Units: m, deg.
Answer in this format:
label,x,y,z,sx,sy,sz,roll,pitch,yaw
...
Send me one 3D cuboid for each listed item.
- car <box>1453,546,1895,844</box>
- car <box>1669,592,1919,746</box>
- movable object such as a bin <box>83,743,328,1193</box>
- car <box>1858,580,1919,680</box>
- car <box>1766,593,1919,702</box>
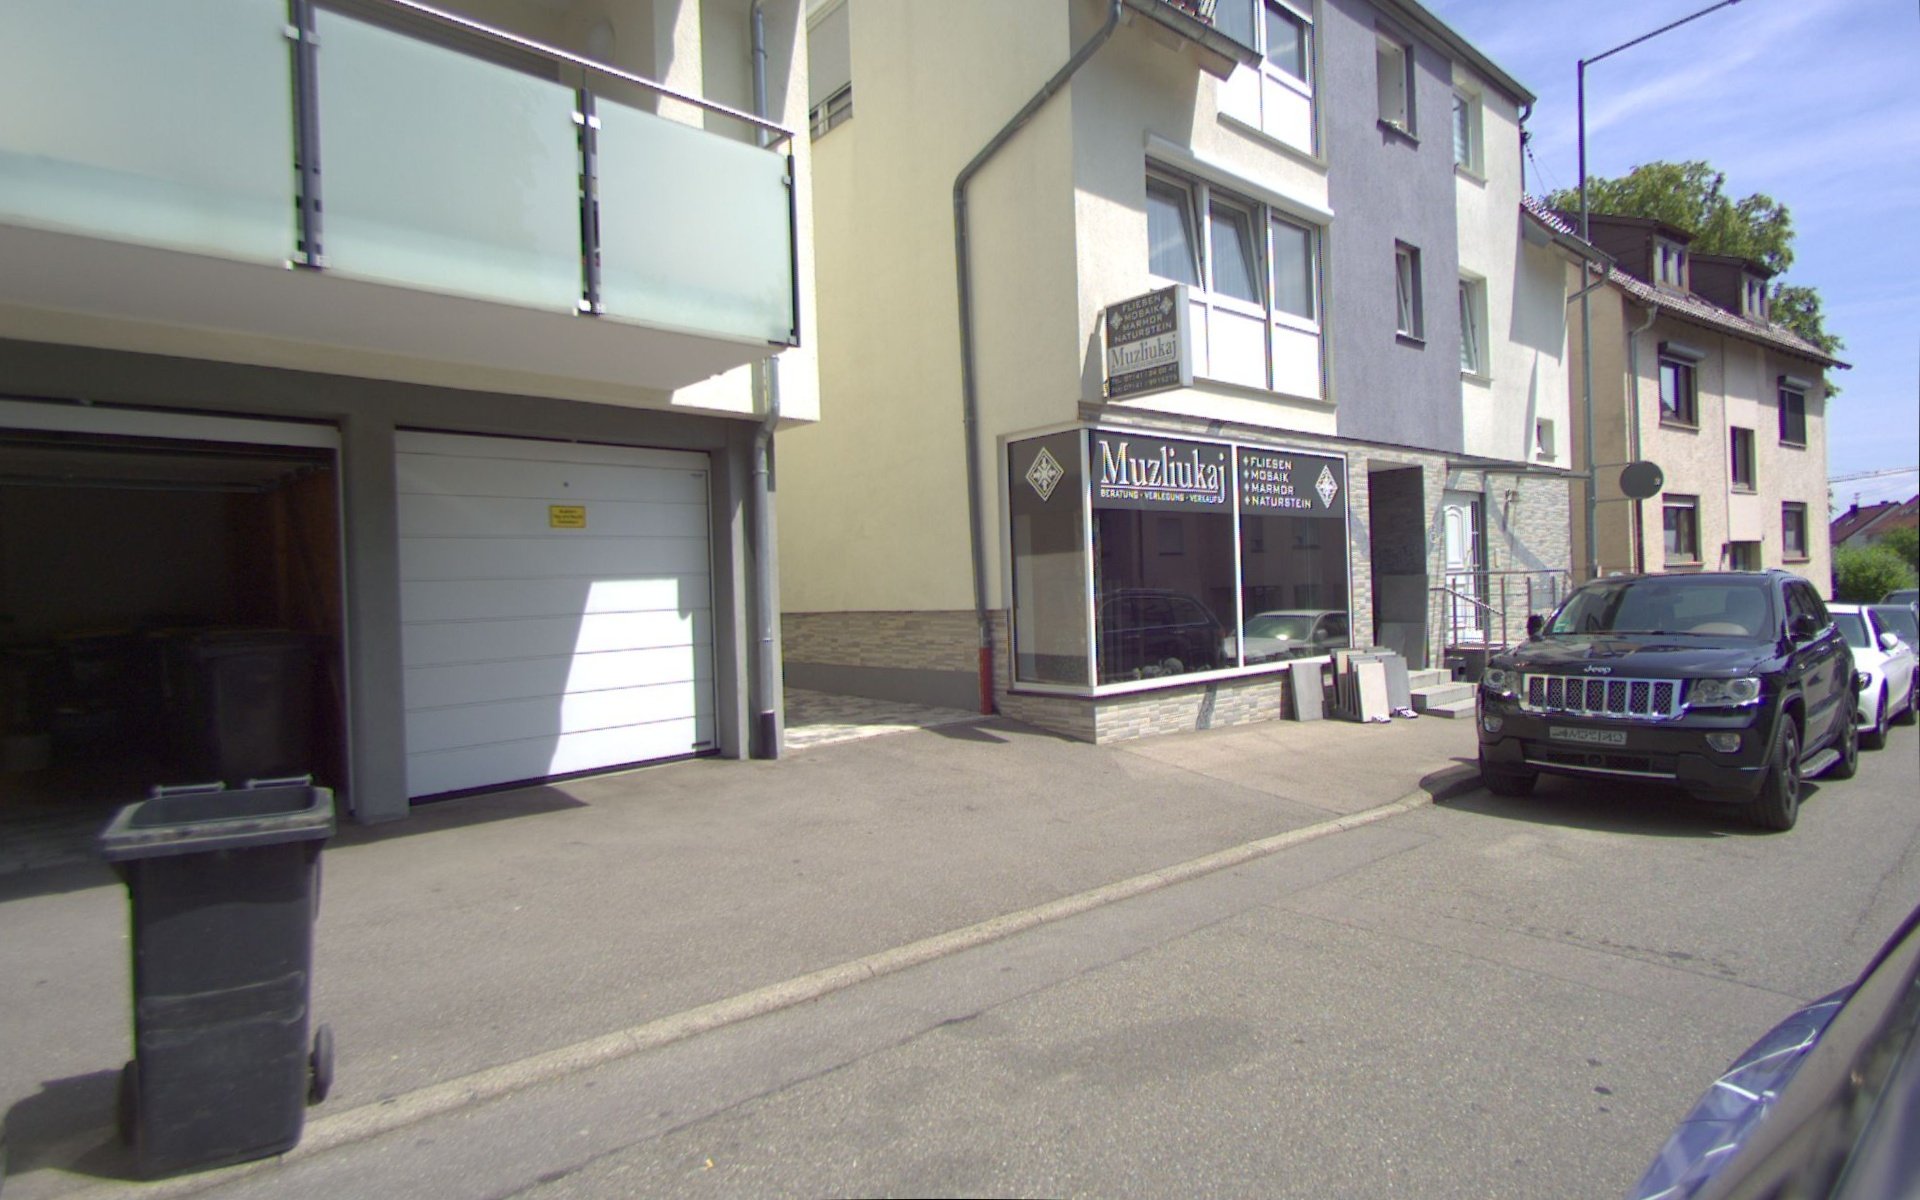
label,x,y,z,sx,sy,sz,roll,pitch,yaw
car,5.970,0.554,8.210,4.636,1.738,1.956,0,-1,-42
car,10.039,0.654,11.914,4.636,1.474,1.791,0,-1,-42
movable object such as a bin,-1.979,0.893,2.655,0.483,0.936,0.431,0,0,-42
car,18.258,0.466,18.636,4.573,1.691,1.847,-1,-1,-40
car,13.914,0.623,15.337,4.280,1.438,1.792,0,-1,-39
